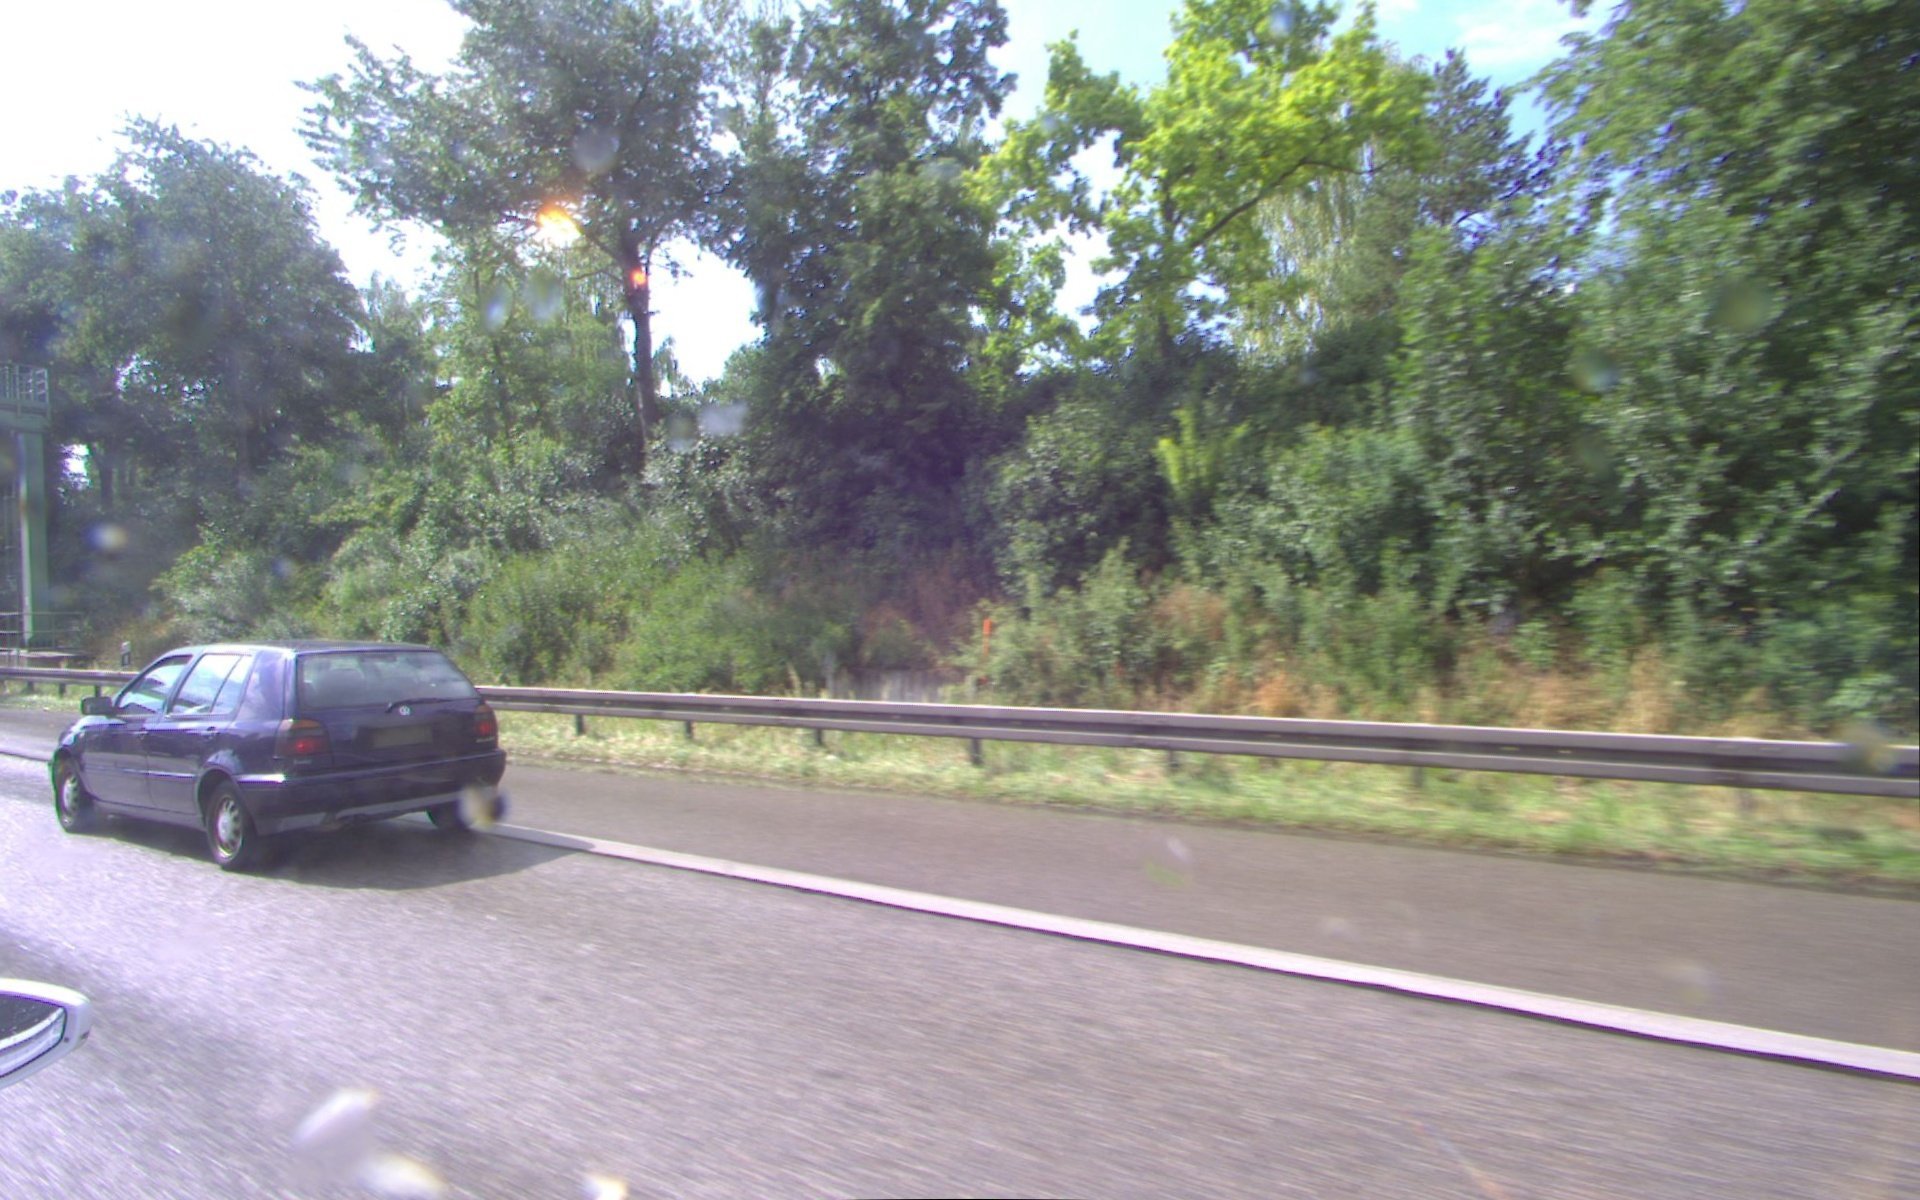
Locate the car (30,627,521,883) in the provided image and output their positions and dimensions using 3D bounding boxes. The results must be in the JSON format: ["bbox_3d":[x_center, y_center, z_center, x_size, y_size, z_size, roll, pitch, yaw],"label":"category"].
[{"bbox_3d":[-5.165,0.949,7.465,3.690,1.475,1.648,-1,-1,31],"label":"car"}]
